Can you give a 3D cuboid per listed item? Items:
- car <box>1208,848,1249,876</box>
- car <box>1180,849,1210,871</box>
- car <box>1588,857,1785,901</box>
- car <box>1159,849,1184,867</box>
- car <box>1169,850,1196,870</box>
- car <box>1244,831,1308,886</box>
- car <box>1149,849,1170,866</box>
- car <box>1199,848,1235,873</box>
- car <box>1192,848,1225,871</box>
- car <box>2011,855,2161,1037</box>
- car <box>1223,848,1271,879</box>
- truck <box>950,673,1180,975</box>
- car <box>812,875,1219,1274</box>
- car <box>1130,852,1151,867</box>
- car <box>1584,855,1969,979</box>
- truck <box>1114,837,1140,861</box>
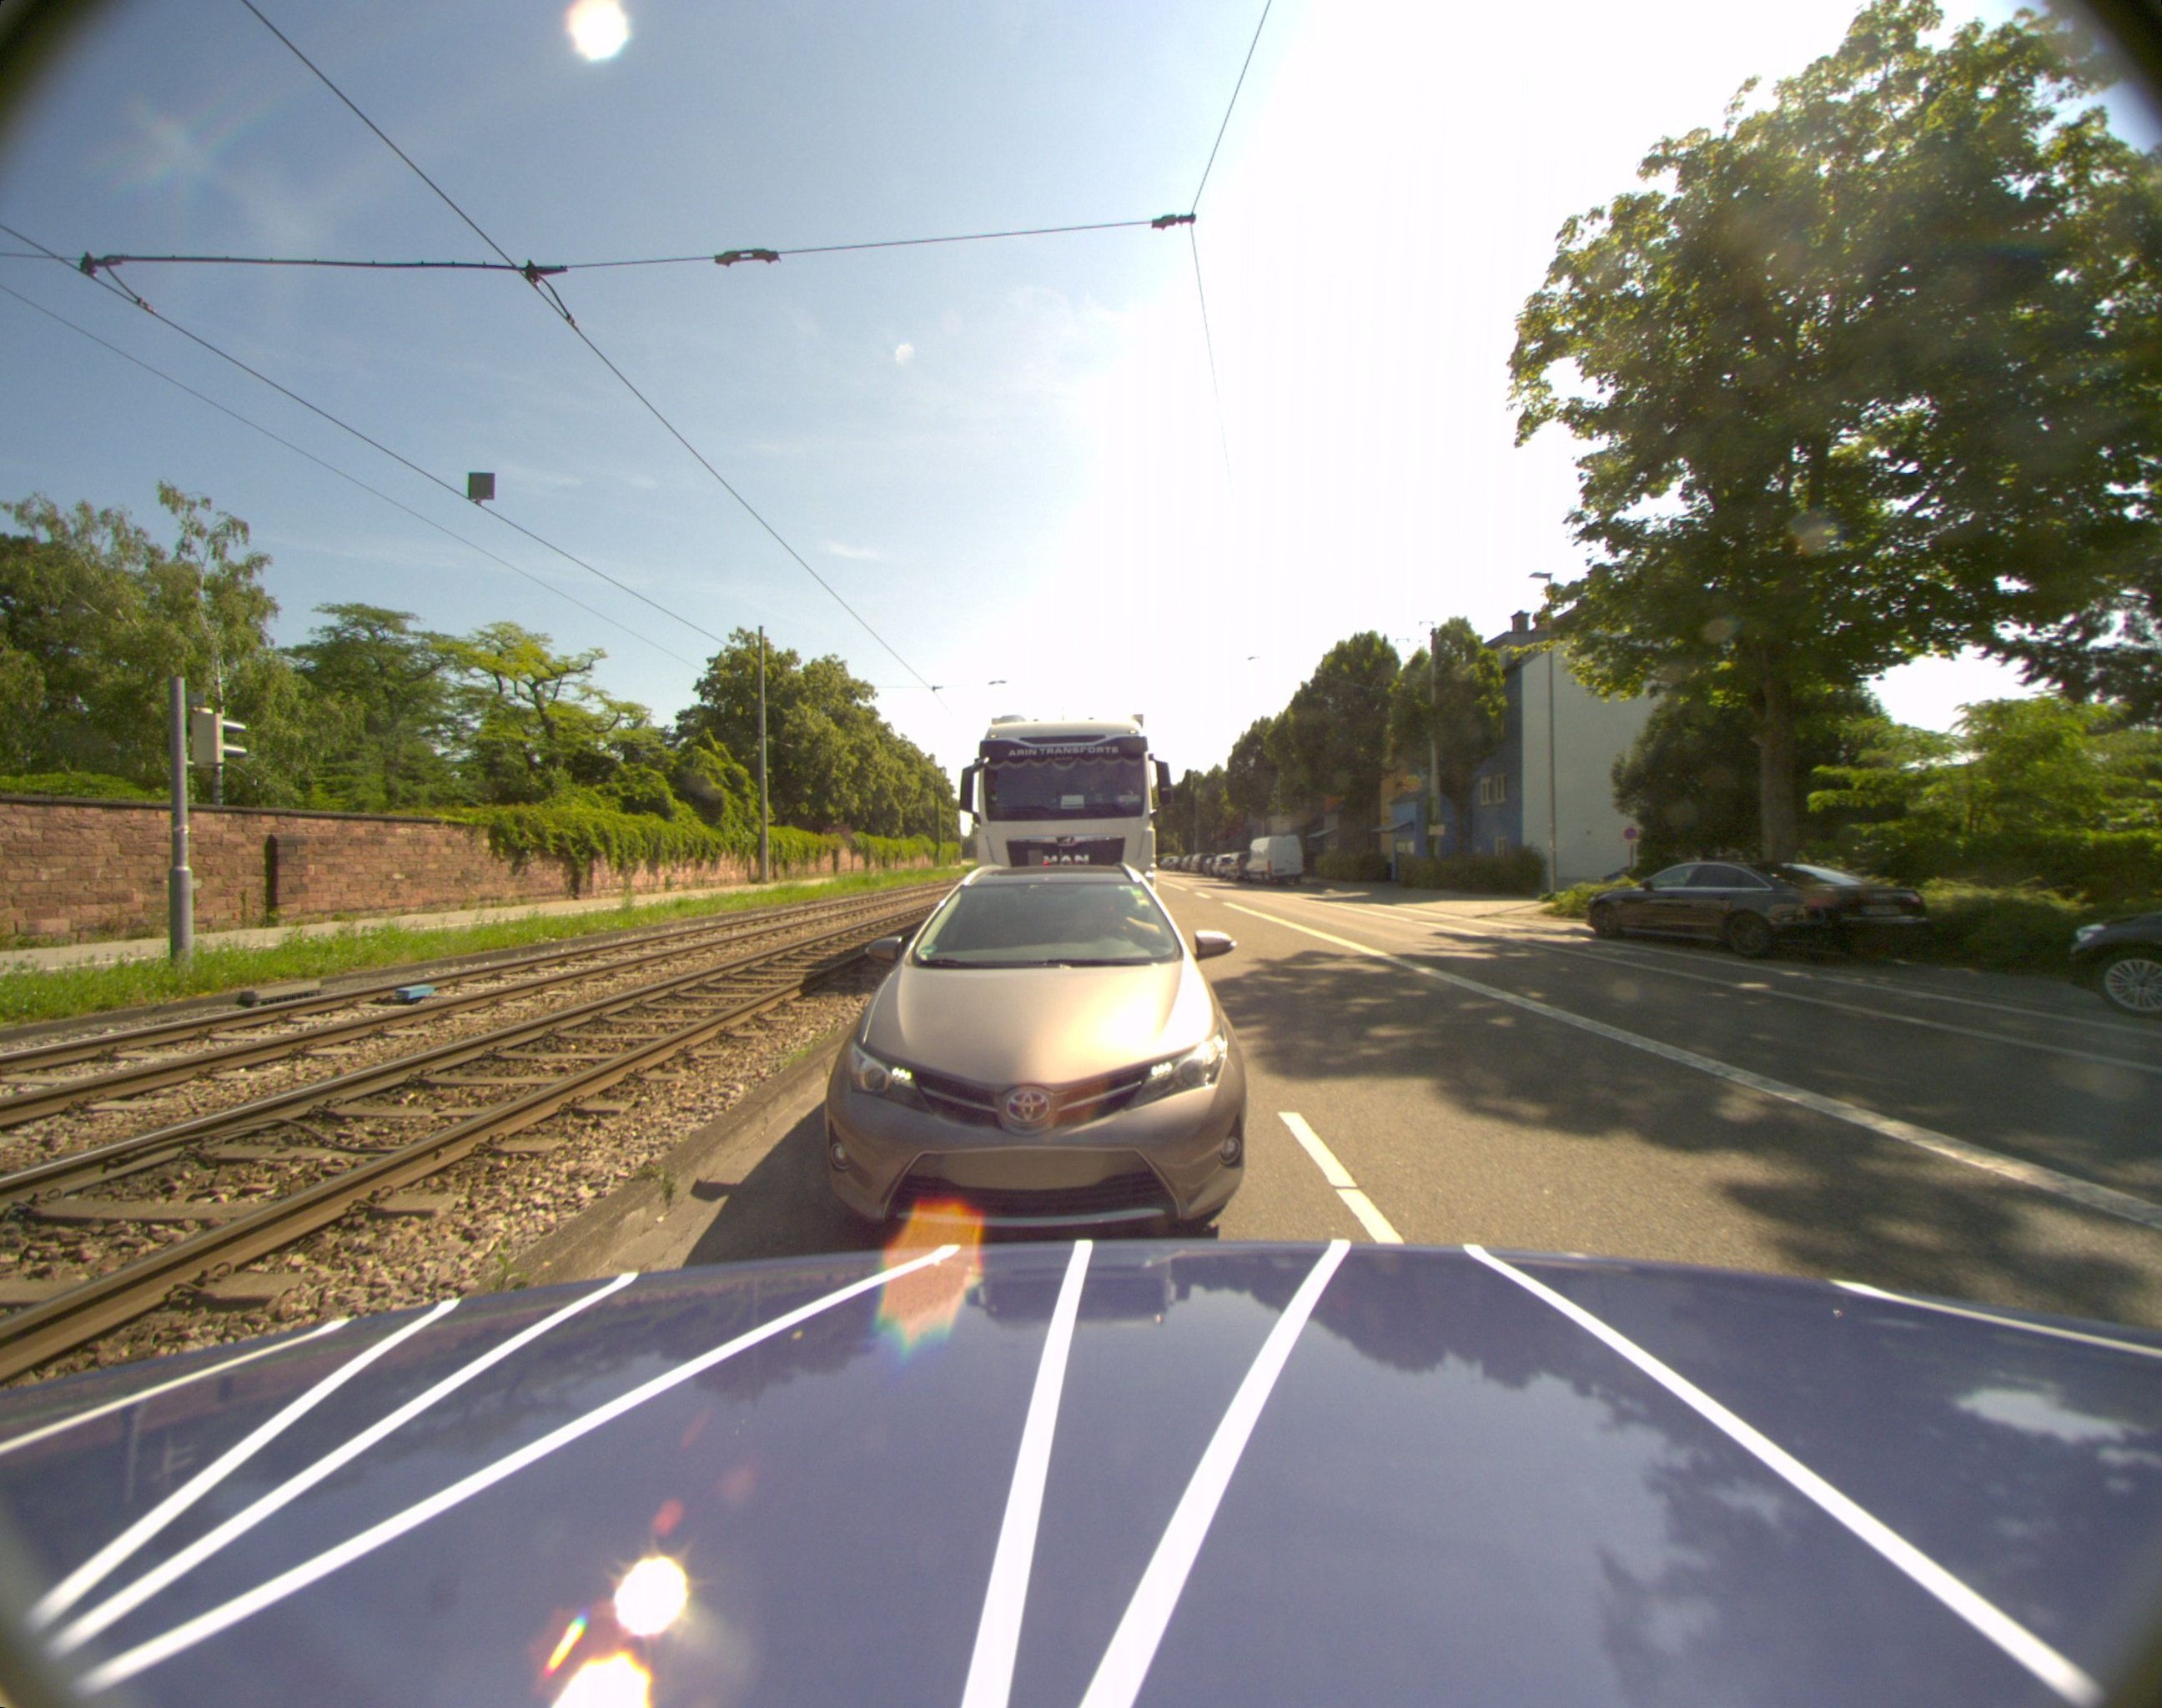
[{"bbox_3d":[11.082,0.570,57.384,1.998,1.795,4.769,-6,0,0],"label":"car"},{"bbox_3d":[10.967,0.555,73.382,1.998,1.795,4.769,-6,0,0],"label":"car"},{"bbox_3d":[20.482,0.817,25.881,5.070,1.422,1.891,0,0,4],"label":"car"},{"bbox_3d":[10.169,0.474,85.760,1.998,1.795,4.769,-6,0,0],"label":"car"},{"bbox_3d":[10.573,0.624,79.171,1.998,1.795,4.769,-6,0,0],"label":"car"},{"bbox_3d":[10.940,0.242,43.154,1.998,2.678,6.214,-6,0,2],"label":"car"},{"bbox_3d":[9.926,0.439,96.887,1.998,1.795,4.769,-6,0,0],"label":"car"},{"bbox_3d":[11.223,0.524,62.867,1.998,1.795,4.256,-6,0,0],"label":"car"},{"bbox_3d":[11.289,0.464,67.678,1.998,1.795,4.769,-6,0,0],"label":"car"},{"bbox_3d":[10.587,0.823,5.574,1.868,1.562,4.621,-2,0,0],"label":"car"},{"bbox_3d":[11.163,0.626,51.451,1.998,1.795,4.769,-6,0,0],"label":"car"},{"bbox_3d":[-0.114,-0.406,17.171,2.935,3.856,14.912,0,0,1],"label":"truck"},{"bbox_3d":[-0.228,0.910,4.942,1.573,1.422,4.000,0,0,1],"label":"car"},{"bbox_3d":[8.279,0.784,105.573,1.999,1.795,5.111,-6,0,-4],"label":"car"},{"bbox_3d":[10.551,0.822,12.164,1.868,1.562,4.621,-1,0,-2],"label":"car"},{"bbox_3d":[6.986,-0.689,116.111,2.704,3.263,6.724,-6,0,-5],"label":"truck"}]
